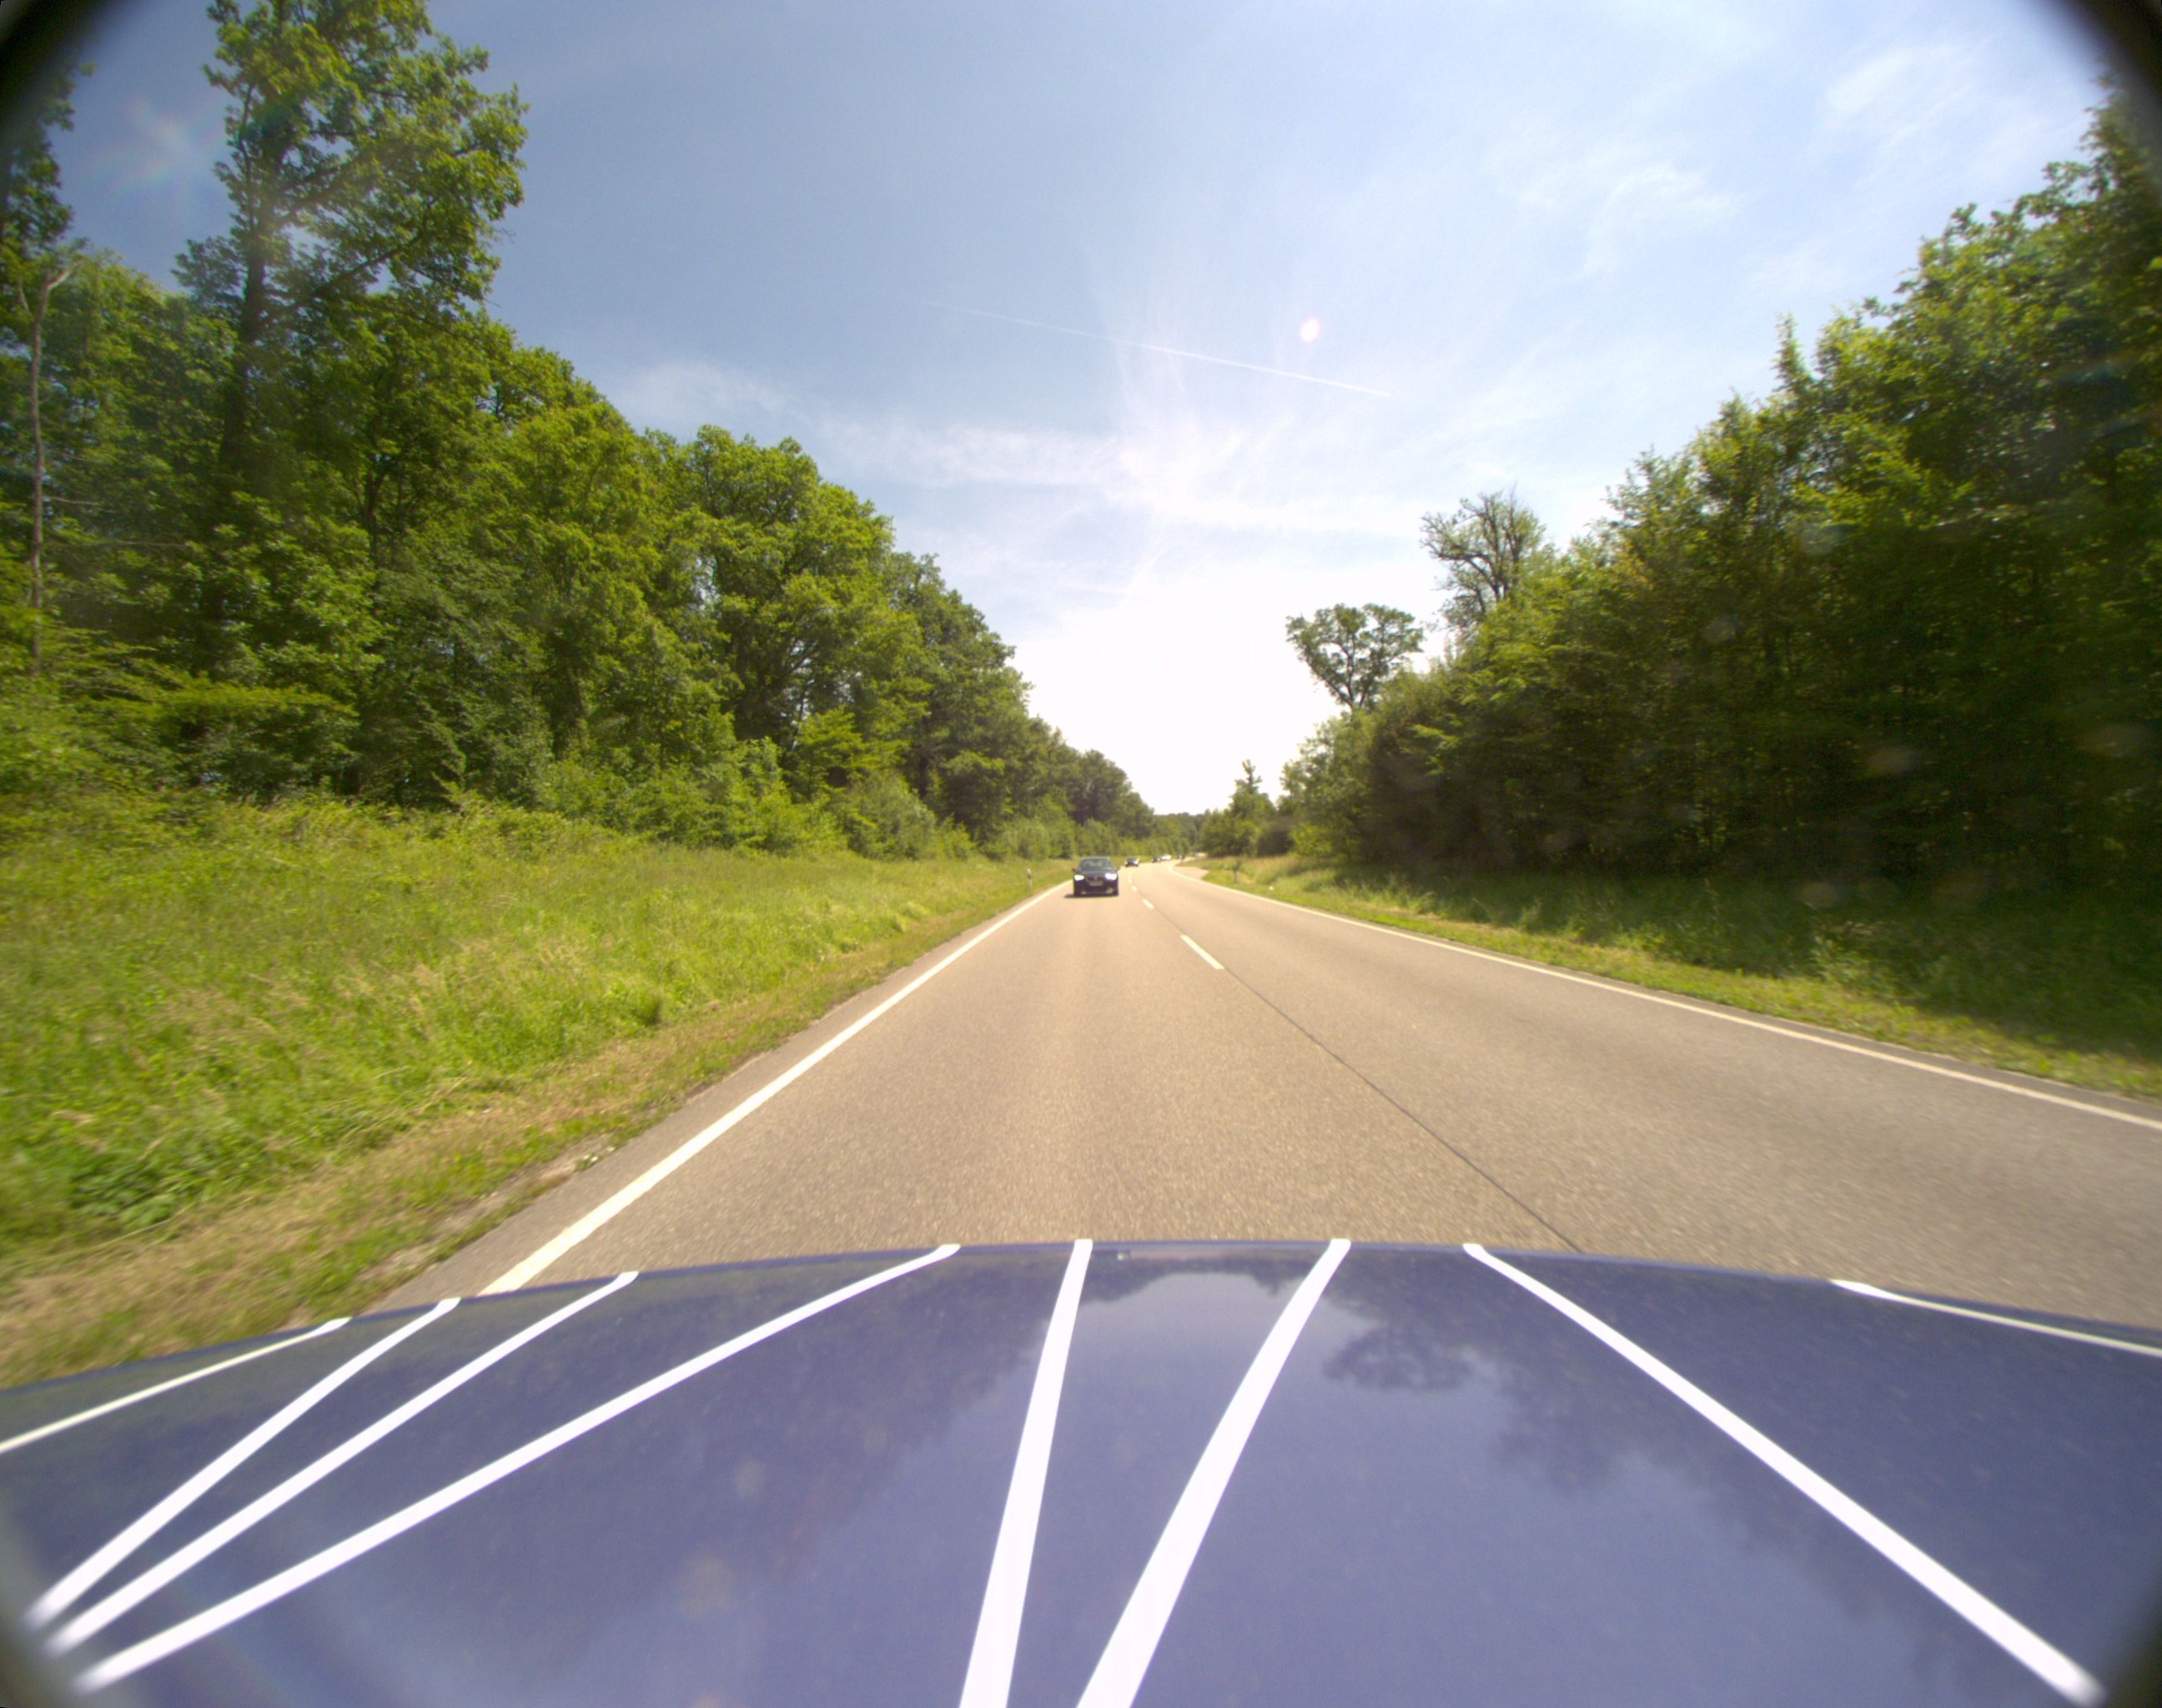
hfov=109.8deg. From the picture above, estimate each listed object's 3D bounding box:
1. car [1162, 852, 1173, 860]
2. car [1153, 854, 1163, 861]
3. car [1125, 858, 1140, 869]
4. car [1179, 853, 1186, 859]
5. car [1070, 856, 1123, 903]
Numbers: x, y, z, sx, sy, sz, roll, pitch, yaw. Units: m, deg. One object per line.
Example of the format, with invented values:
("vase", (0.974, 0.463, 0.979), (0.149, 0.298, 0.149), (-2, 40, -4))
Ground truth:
("car", (21.347, 0.543, 187.663), (2.017, 1.737, 4.385), (-2, 0, 13))
("car", (16.165, 0.688, 160.009), (1.775, 1.454, 4.002), (-2, 0, 9))
("car", (7.556, 1.361, 110.923), (1.774, 1.454, 3.951), (-2, 0, 11))
("car", (29.224, 0.544, 219.076), (1.691, 1.718, 4.004), (-2, 0, 14))
("car", (0.648, 0.888, 28.422), (1.713, 1.516, 4.243), (-2, 0, 4))
